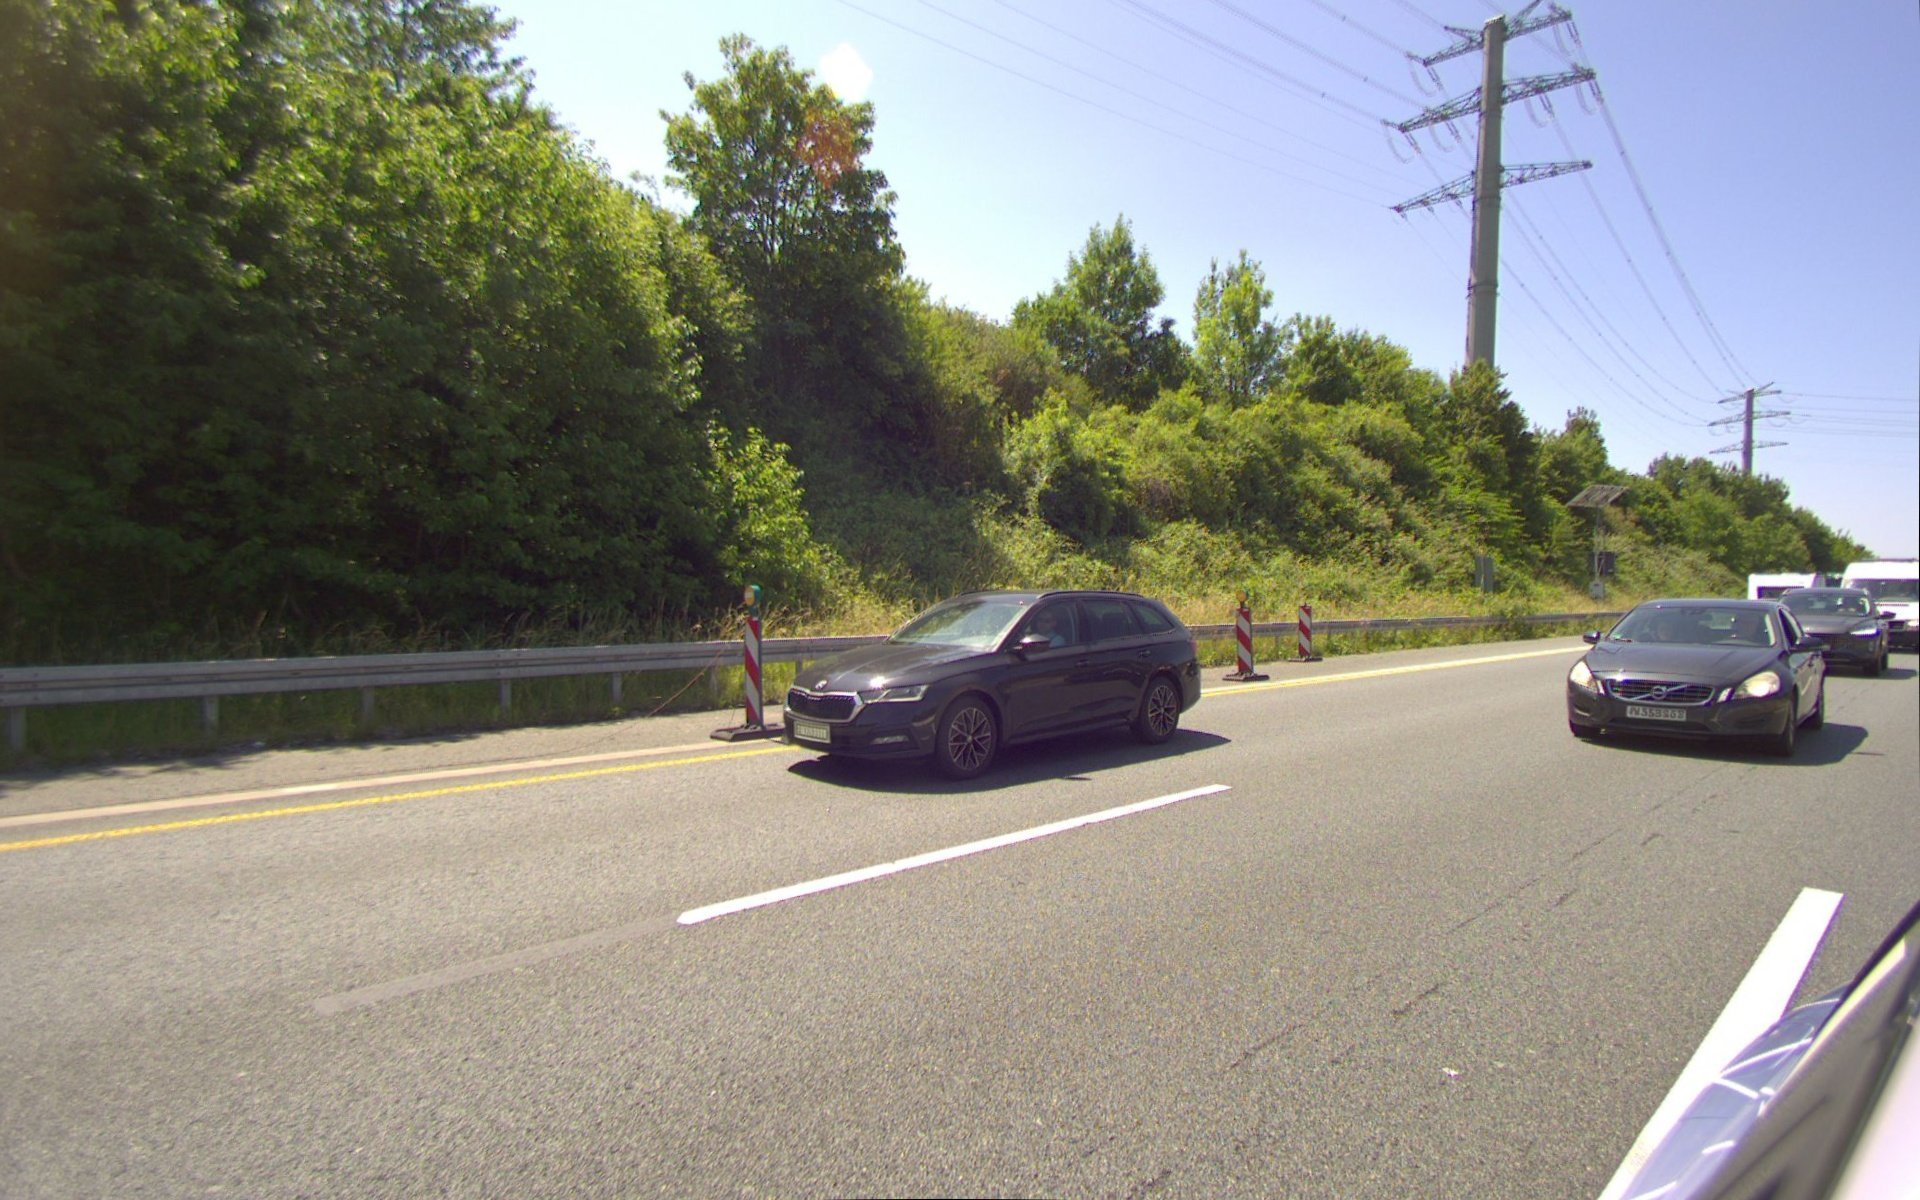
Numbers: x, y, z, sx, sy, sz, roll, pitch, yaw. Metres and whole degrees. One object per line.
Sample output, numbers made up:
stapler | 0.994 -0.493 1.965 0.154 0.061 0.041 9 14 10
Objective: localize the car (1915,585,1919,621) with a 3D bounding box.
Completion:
car | 46.952 0.127 48.331 4.088 1.689 1.742 0 1 -44

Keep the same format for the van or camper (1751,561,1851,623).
van or camper | 38.152 -0.388 45.783 8.275 2.596 2.429 -1 1 -43

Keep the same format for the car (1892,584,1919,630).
car | 37.467 0.257 39.206 4.088 1.689 1.742 0 1 -44

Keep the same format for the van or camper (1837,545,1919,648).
van or camper | 26.509 -0.137 28.470 5.531 2.652 1.997 0 2 -42

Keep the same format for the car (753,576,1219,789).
car | 0.449 0.558 9.349 4.391 1.507 1.780 -1 1 -45

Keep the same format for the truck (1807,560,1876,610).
truck | 59.531 -0.950 68.307 7.513 3.181 2.429 0 -1 -41

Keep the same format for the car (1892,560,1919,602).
car | 91.560 -1.772 96.972 10.096 3.849 2.394 -1 0 -42

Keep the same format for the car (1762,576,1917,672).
car | 17.376 0.399 19.944 4.084 1.689 1.743 0 1 -41

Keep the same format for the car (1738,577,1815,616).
car | 33.556 -0.159 41.568 4.138 1.424 1.799 -1 4 -43

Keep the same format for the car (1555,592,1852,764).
car | 7.941 0.652 10.678 3.932 1.459 1.796 0 1 -42
